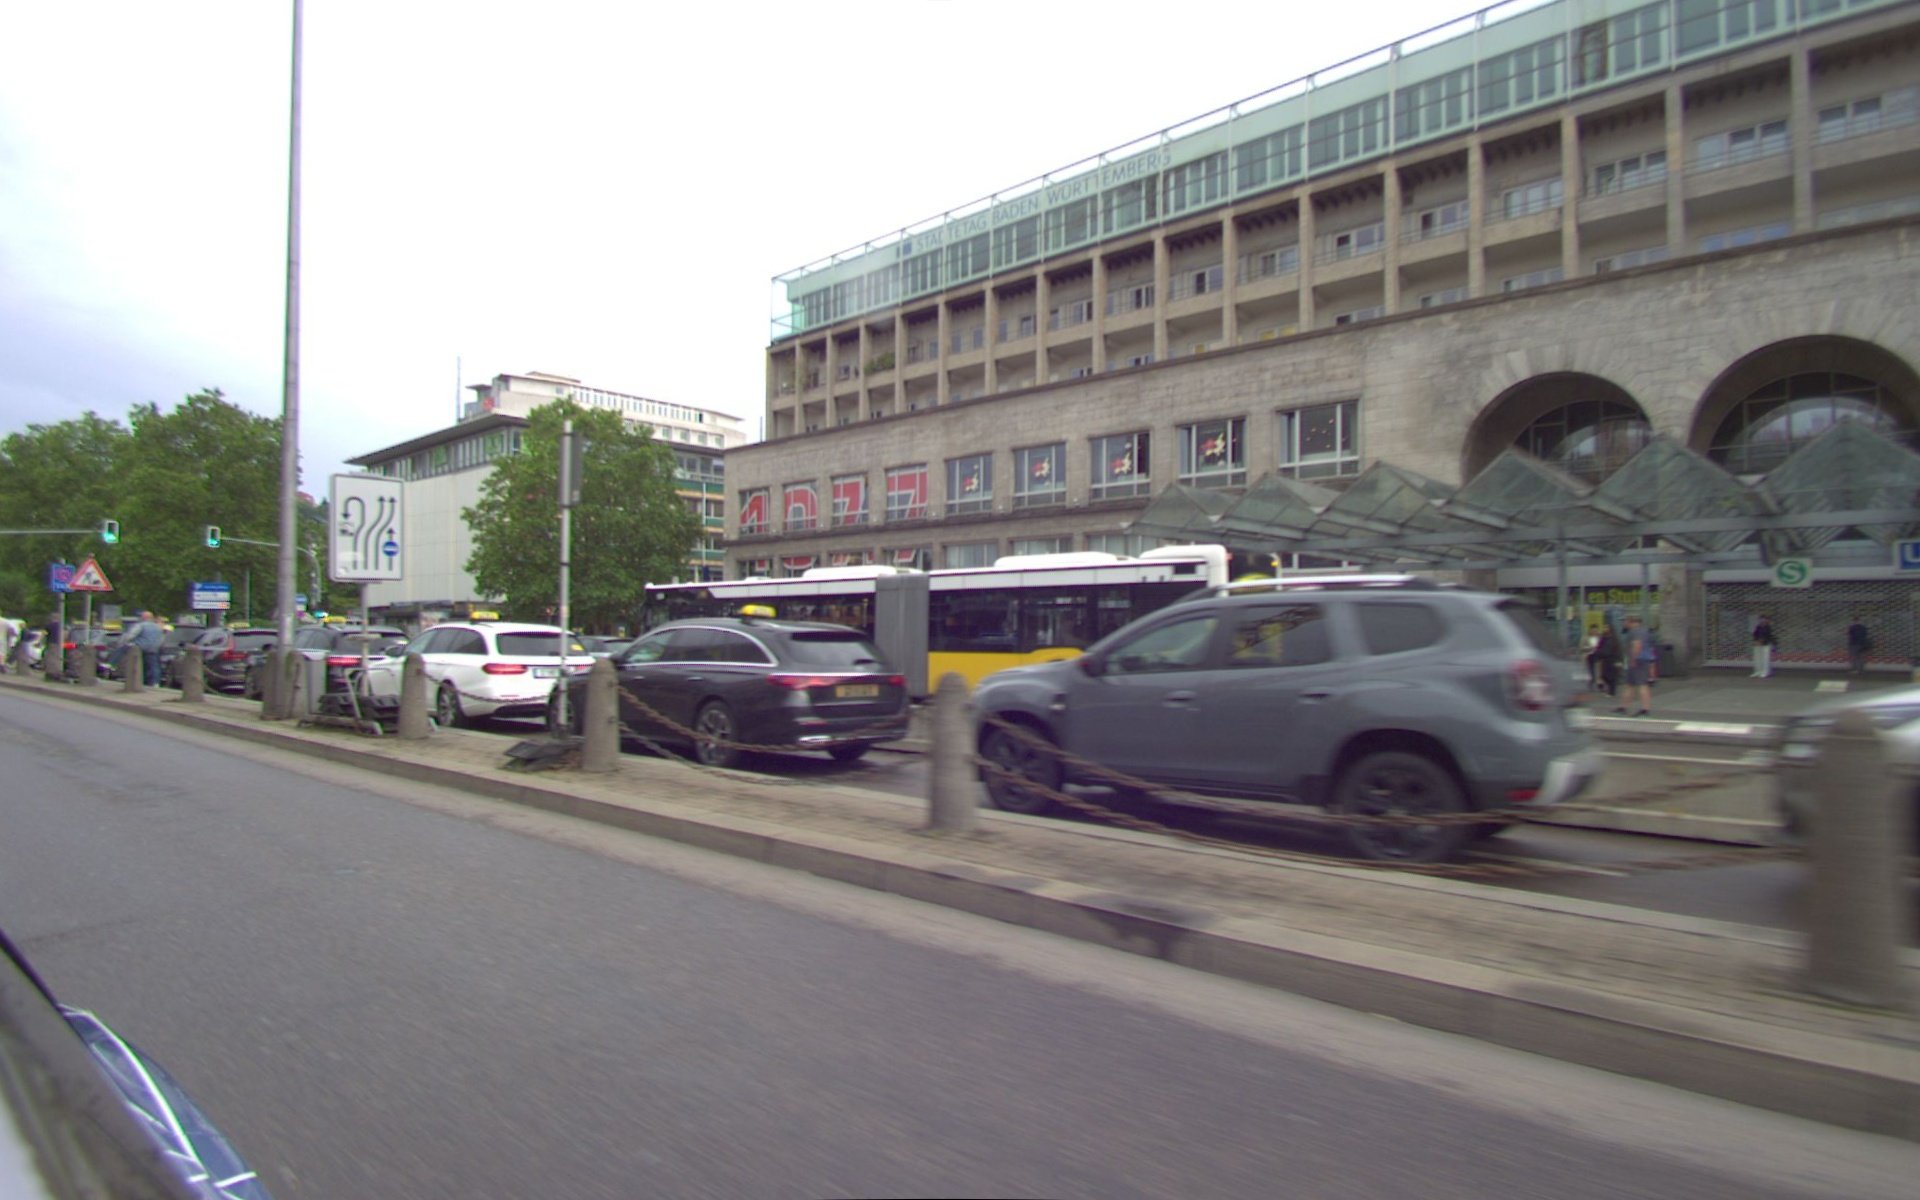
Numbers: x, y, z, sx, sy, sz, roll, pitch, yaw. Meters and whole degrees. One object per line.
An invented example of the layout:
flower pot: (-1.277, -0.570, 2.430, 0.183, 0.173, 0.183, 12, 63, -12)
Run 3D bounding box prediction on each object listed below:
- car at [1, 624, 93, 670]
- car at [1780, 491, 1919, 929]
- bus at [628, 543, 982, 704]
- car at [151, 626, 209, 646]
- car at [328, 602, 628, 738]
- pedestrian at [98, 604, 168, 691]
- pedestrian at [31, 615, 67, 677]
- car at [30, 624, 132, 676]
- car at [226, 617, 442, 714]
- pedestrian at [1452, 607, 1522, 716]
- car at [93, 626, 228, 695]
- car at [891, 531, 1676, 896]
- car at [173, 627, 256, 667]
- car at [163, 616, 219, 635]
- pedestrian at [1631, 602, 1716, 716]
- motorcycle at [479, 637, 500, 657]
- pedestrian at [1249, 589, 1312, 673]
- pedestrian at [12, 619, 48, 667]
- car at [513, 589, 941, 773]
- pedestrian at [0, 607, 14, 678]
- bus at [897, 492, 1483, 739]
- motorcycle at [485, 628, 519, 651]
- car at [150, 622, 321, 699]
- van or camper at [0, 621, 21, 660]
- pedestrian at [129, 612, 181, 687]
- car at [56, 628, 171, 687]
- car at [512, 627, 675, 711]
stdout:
car: (-34.785, 1.762, 38.529, 4.839, 1.633, 1.994, -2, -2, 41)
car: (6.012, 0.457, 3.706, 4.580, 1.820, 1.909, -1, -3, 42)
bus: (-4.387, 0.657, 25.962, 10.568, 3.402, 2.847, -2, -3, 41)
car: (-71.120, 3.276, 92.278, 3.682, 1.554, 1.857, -3, 2, -13)
car: (-7.189, 0.940, 14.824, 5.188, 1.672, 1.956, -1, -3, 40)
pedestrian: (-17.512, 0.994, 21.428, 0.616, 1.782, 1.040, -1, -2, 40)
pedestrian: (-26.419, 1.334, 29.348, 0.711, 1.768, 0.691, -2, -2, 40)
car: (-30.556, 1.698, 35.145, 4.678, 1.703, 1.910, -1, -3, 40)
car: (-11.766, 1.144, 18.868, 5.008, 1.589, 1.910, -1, -3, 40)
pedestrian: (8.762, 1.007, 16.818, 0.855, 1.738, 0.617, -2, -1, 41)
car: (-21.665, 1.571, 27.371, 4.678, 1.703, 1.910, -1, -3, 40)
car: (1.930, 0.607, 7.086, 4.882, 1.712, 1.910, -1, -3, 40)
car: (-33.344, 2.084, 45.221, 4.678, 1.703, 1.910, -1, -3, 40)
car: (-87.470, 2.864, 115.142, 2.035, 2.029, 4.767, -3, -2, 42)
pedestrian: (11.910, 0.963, 16.904, 1.026, 1.822, 0.732, -2, -1, 42)
motorcycle: (-25.119, 2.503, 53.986, 0.471, 1.054, 1.625, -1, -1, -44)
pedestrian: (6.545, 0.629, 20.681, 1.026, 1.679, 0.622, -2, -1, 42)
pedestrian: (-35.433, 1.635, 38.549, 0.604, 1.789, 0.776, -1, -4, 28)
car: (-2.741, 0.782, 11.128, 5.048, 1.589, 1.910, -1, -3, 40)
pedestrian: (-27.615, 1.219, 28.957, 0.772, 2.023, 0.715, -2, -1, 40)
bus: (3.589, 0.357, 18.889, 10.568, 3.486, 2.847, -2, -2, 41)
motorcycle: (-22.428, 1.939, 49.593, 0.600, 1.065, 1.428, -2, -1, 30)
car: (-16.713, 1.326, 23.239, 5.256, 1.589, 1.910, -1, -3, 40)
van or camper: (-66.040, 2.765, 69.077, 5.364, 2.533, 1.974, -2, -5, 39)
pedestrian: (-18.116, 1.100, 22.760, 0.995, 1.619, 0.715, -2, -1, 40)
car: (-26.416, 1.729, 31.539, 4.678, 1.703, 1.910, -1, -3, 40)
car: (-9.172, 1.667, 25.228, 4.115, 1.842, 1.974, -2, -1, 39)
